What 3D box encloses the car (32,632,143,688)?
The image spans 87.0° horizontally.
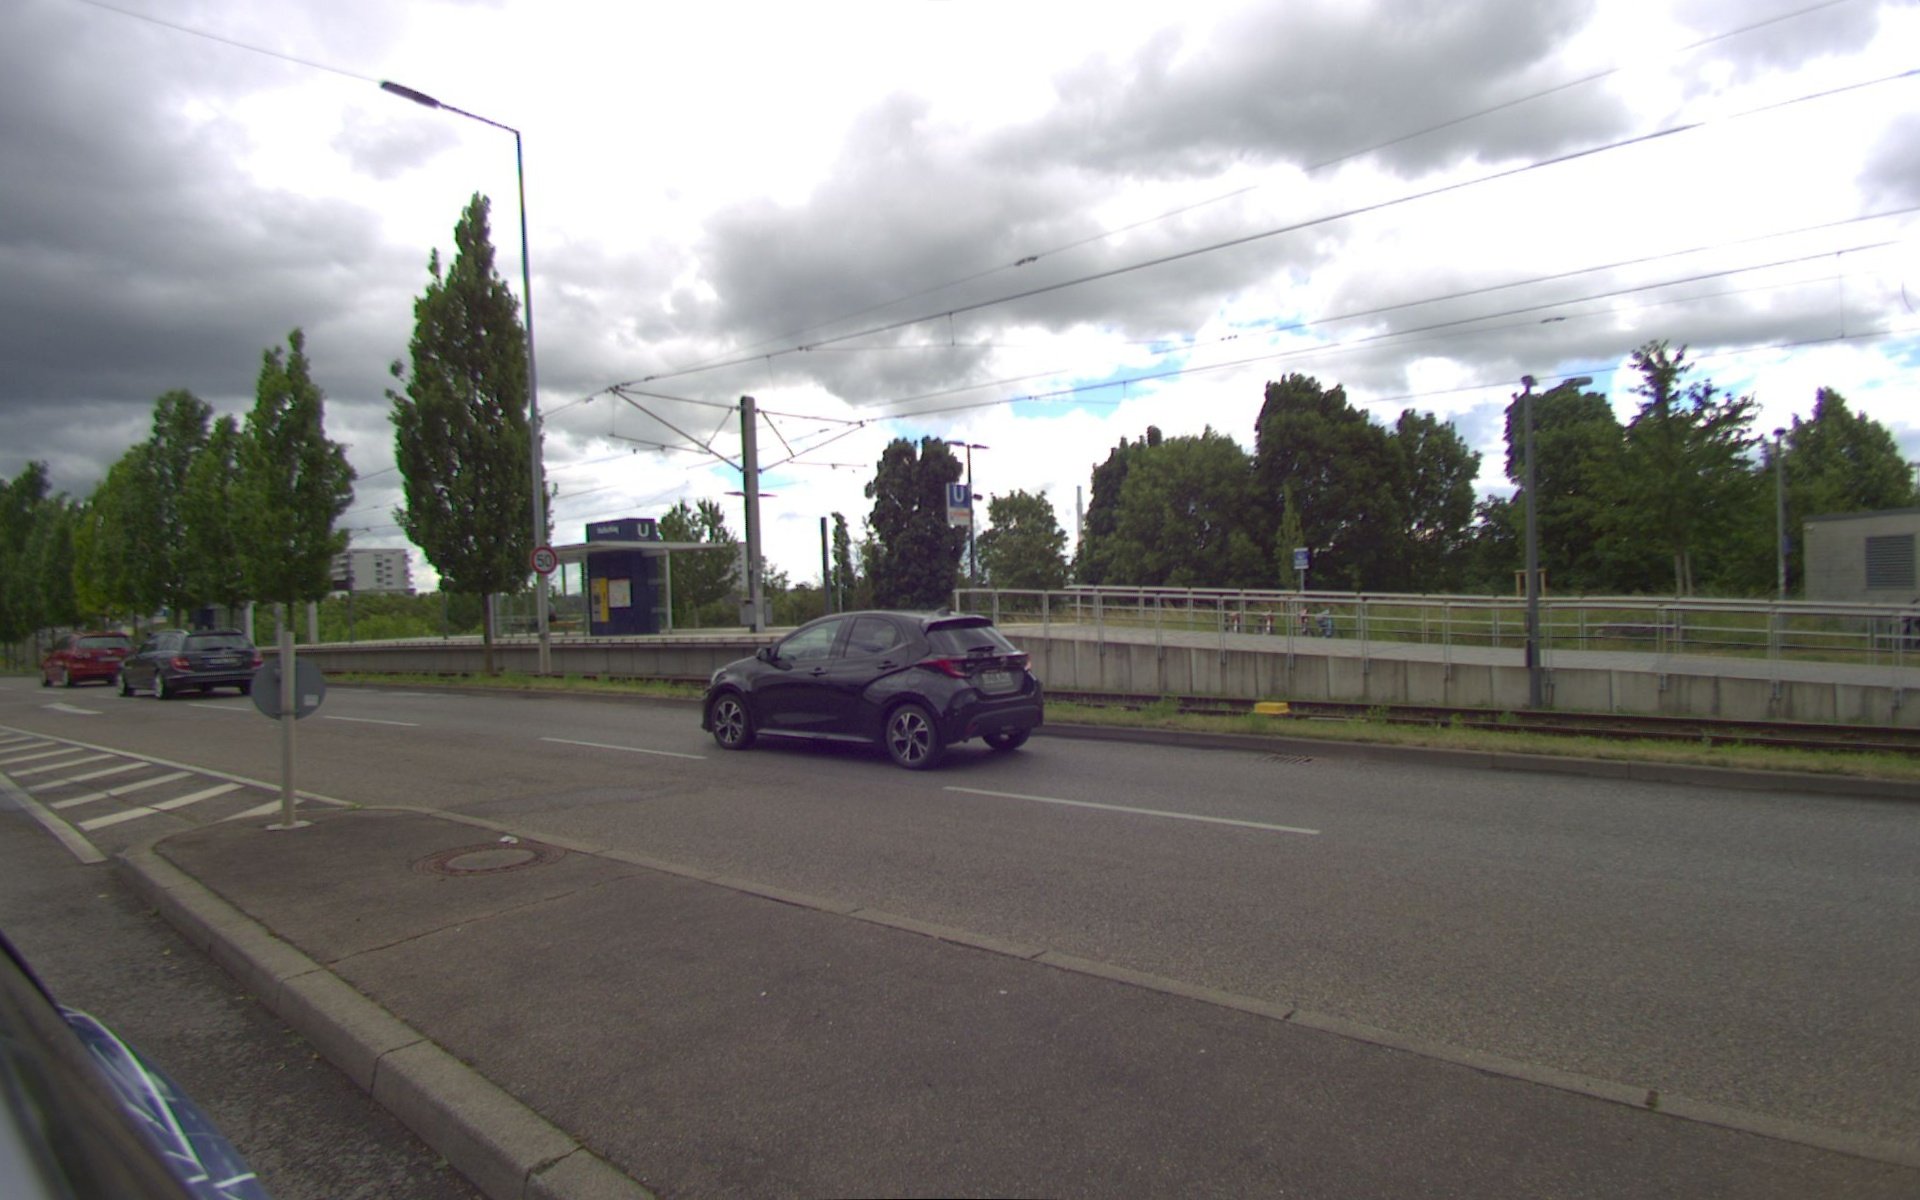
[{"bbox_3d":[-25.551,1.730,29.600,4.080,1.499,1.687,-3,-2,37],"label":"car"}]

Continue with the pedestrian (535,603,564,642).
[{"bbox_3d":[-13.969,0.753,34.453,0.659,1.279,0.604,-5,-3,37],"label":"pedestrian"}]

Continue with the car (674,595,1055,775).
[{"bbox_3d":[-1.111,0.776,10.608,3.933,1.507,1.579,-2,1,38],"label":"car"}]

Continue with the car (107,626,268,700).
[{"bbox_3d":[-16.997,1.320,22.198,4.538,1.450,1.675,-2,-1,37],"label":"car"}]

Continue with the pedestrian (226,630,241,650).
[{"bbox_3d":[-41.291,2.288,57.492,0.470,1.087,0.601,-5,-4,40],"label":"pedestrian"}]

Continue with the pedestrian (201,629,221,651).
[{"bbox_3d":[-42.574,2.272,57.509,0.665,1.208,0.753,-4,-3,41],"label":"pedestrian"}]

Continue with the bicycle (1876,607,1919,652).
[{"bbox_3d":[22.151,0.679,23.311,0.405,1.023,1.798,-1,0,-2],"label":"bicycle"}]
